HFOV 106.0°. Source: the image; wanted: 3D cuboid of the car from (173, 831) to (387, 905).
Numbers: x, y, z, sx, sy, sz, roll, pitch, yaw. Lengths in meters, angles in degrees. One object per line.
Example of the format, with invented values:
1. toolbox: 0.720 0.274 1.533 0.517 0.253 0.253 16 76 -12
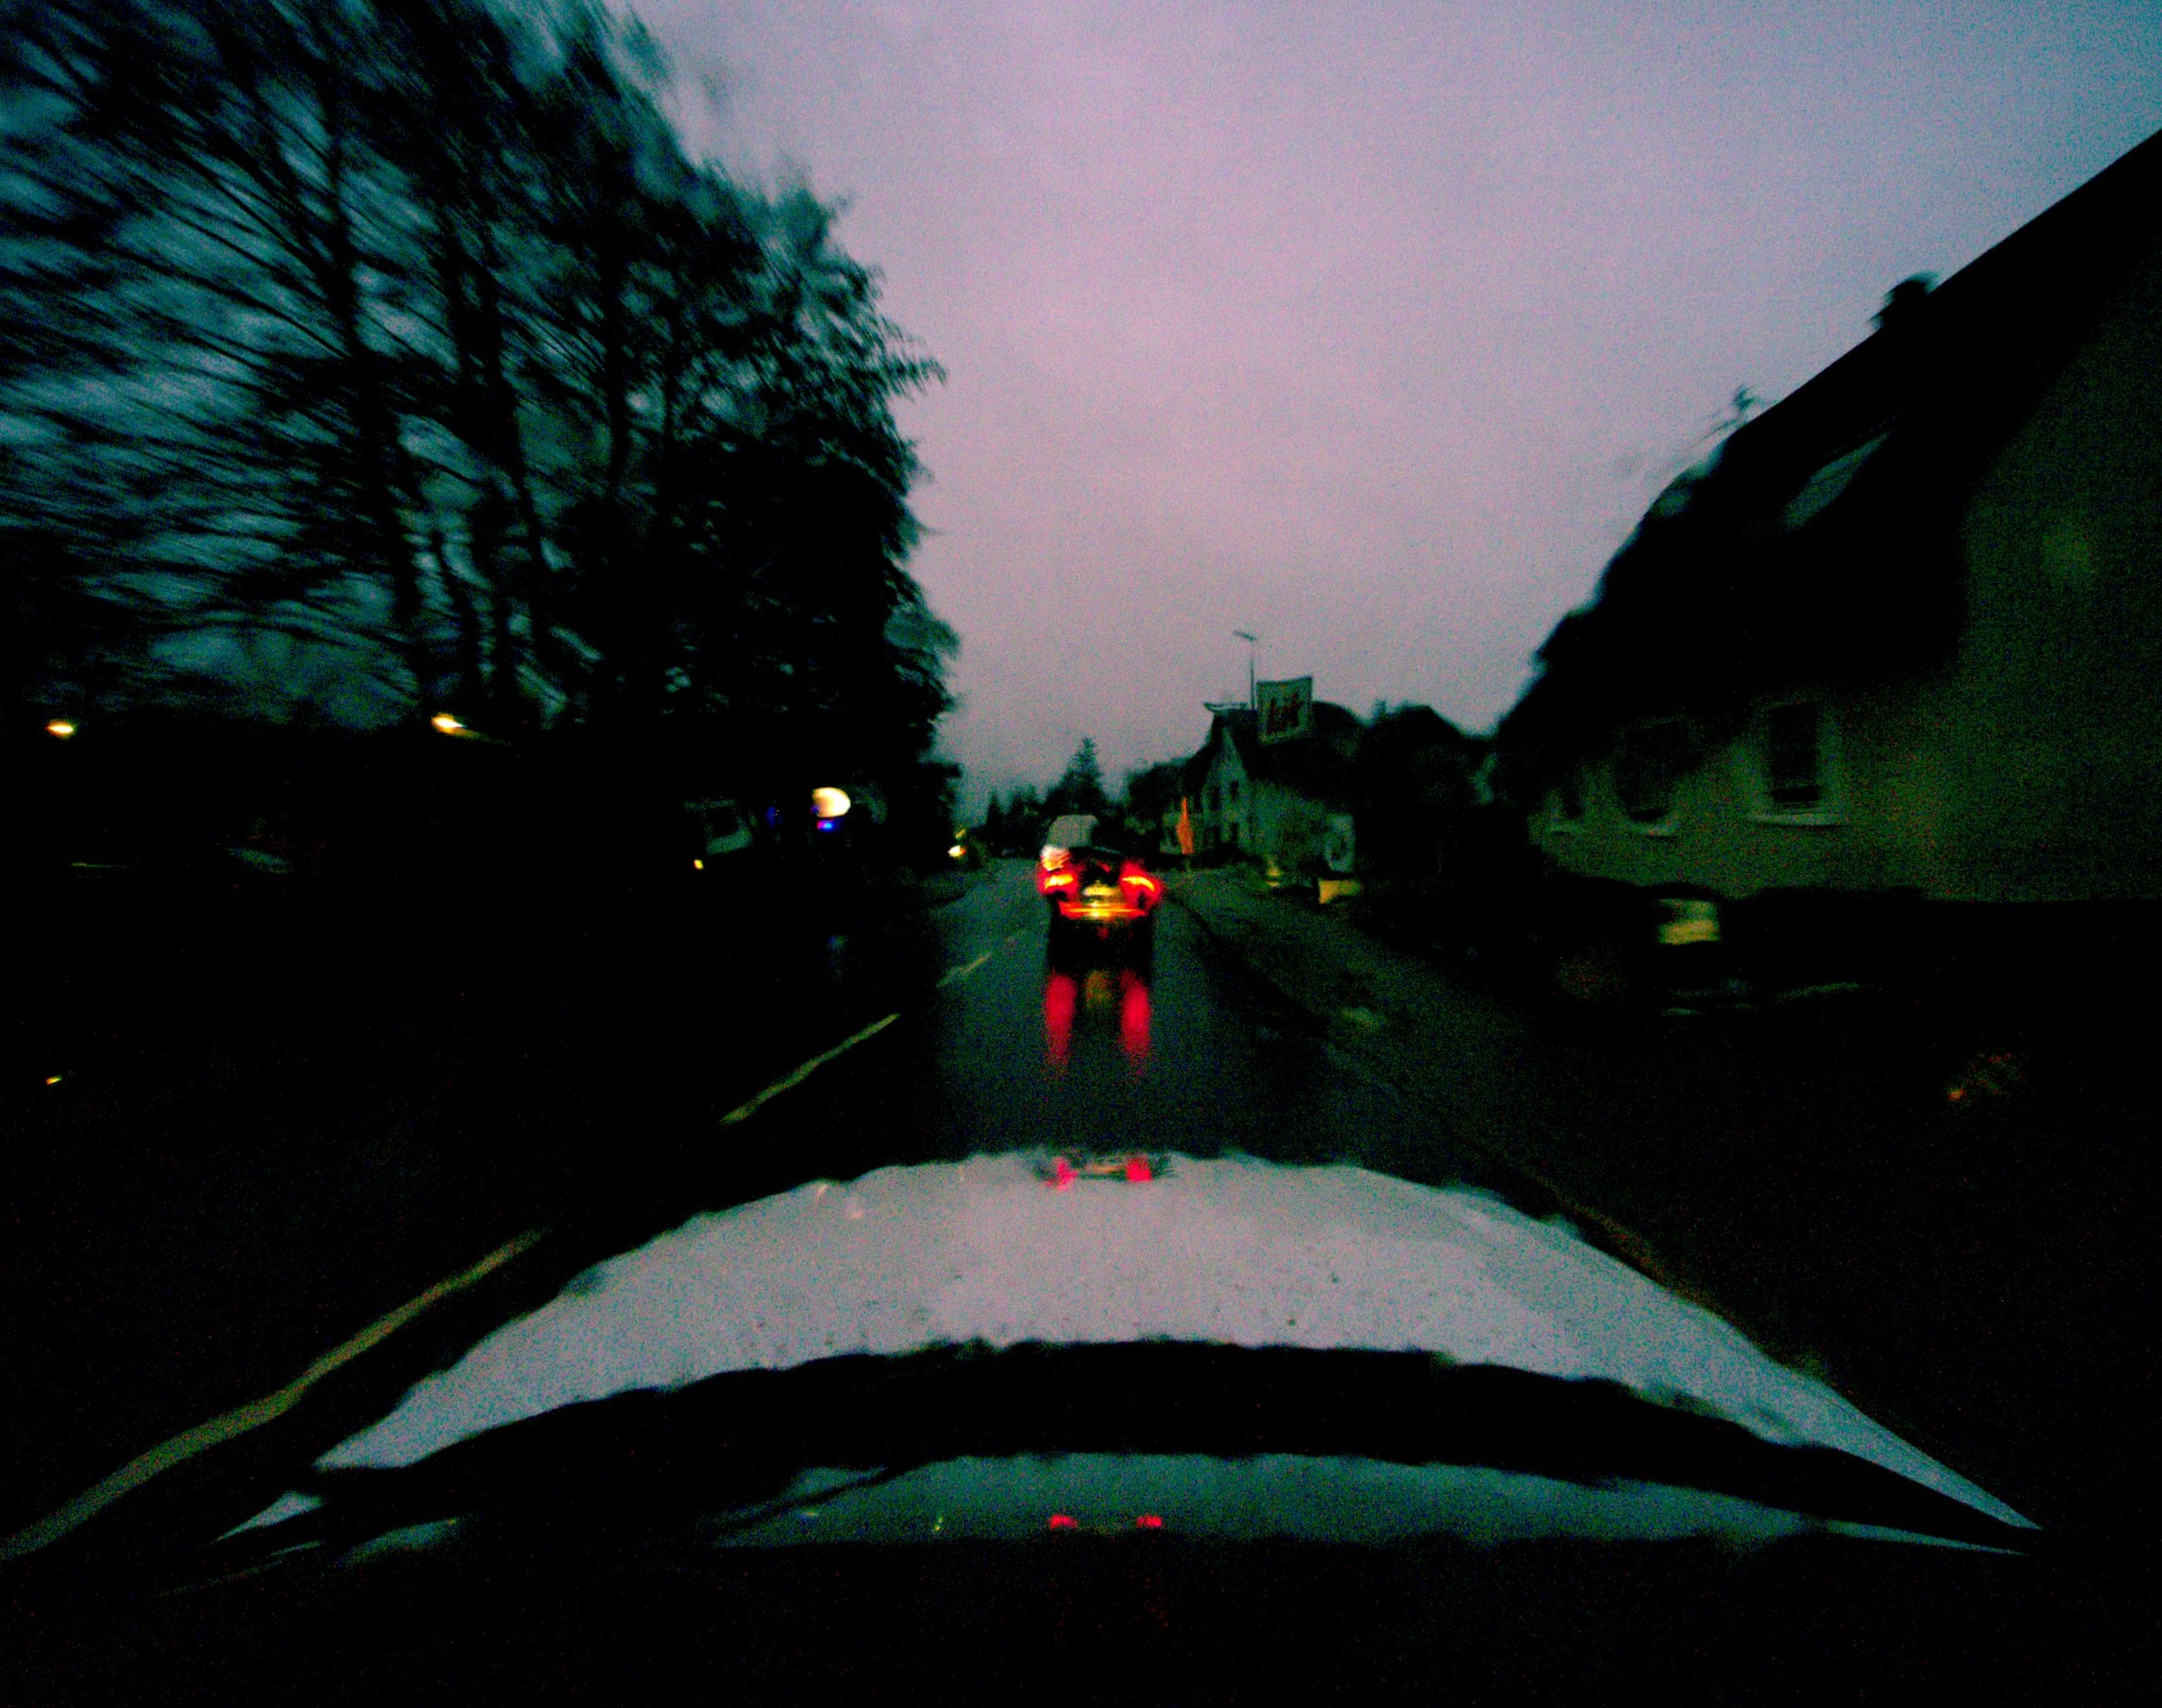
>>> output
1. car: -27.514 0.360 28.330 2.274 2.278 5.267 1 2 -1

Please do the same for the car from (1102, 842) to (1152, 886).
1. car: 1.759 0.347 32.188 1.851 1.647 4.002 0 1 2

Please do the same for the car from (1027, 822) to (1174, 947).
1. car: 0.385 0.492 15.446 2.301 1.938 5.020 -1 0 2

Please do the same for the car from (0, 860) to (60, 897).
1. car: -37.049 0.865 27.238 1.556 1.130 3.392 2 2 -1

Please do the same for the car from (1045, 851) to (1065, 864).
1. car: -2.839 0.338 87.053 1.840 1.331 3.929 -1 0 -6

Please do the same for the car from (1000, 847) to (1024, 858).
1. car: -12.528 -0.309 148.213 4.248 2.013 1.804 -1 0 -11

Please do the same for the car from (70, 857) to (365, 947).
1. car: -21.086 1.151 20.123 4.644 1.976 2.122 1 2 -9
